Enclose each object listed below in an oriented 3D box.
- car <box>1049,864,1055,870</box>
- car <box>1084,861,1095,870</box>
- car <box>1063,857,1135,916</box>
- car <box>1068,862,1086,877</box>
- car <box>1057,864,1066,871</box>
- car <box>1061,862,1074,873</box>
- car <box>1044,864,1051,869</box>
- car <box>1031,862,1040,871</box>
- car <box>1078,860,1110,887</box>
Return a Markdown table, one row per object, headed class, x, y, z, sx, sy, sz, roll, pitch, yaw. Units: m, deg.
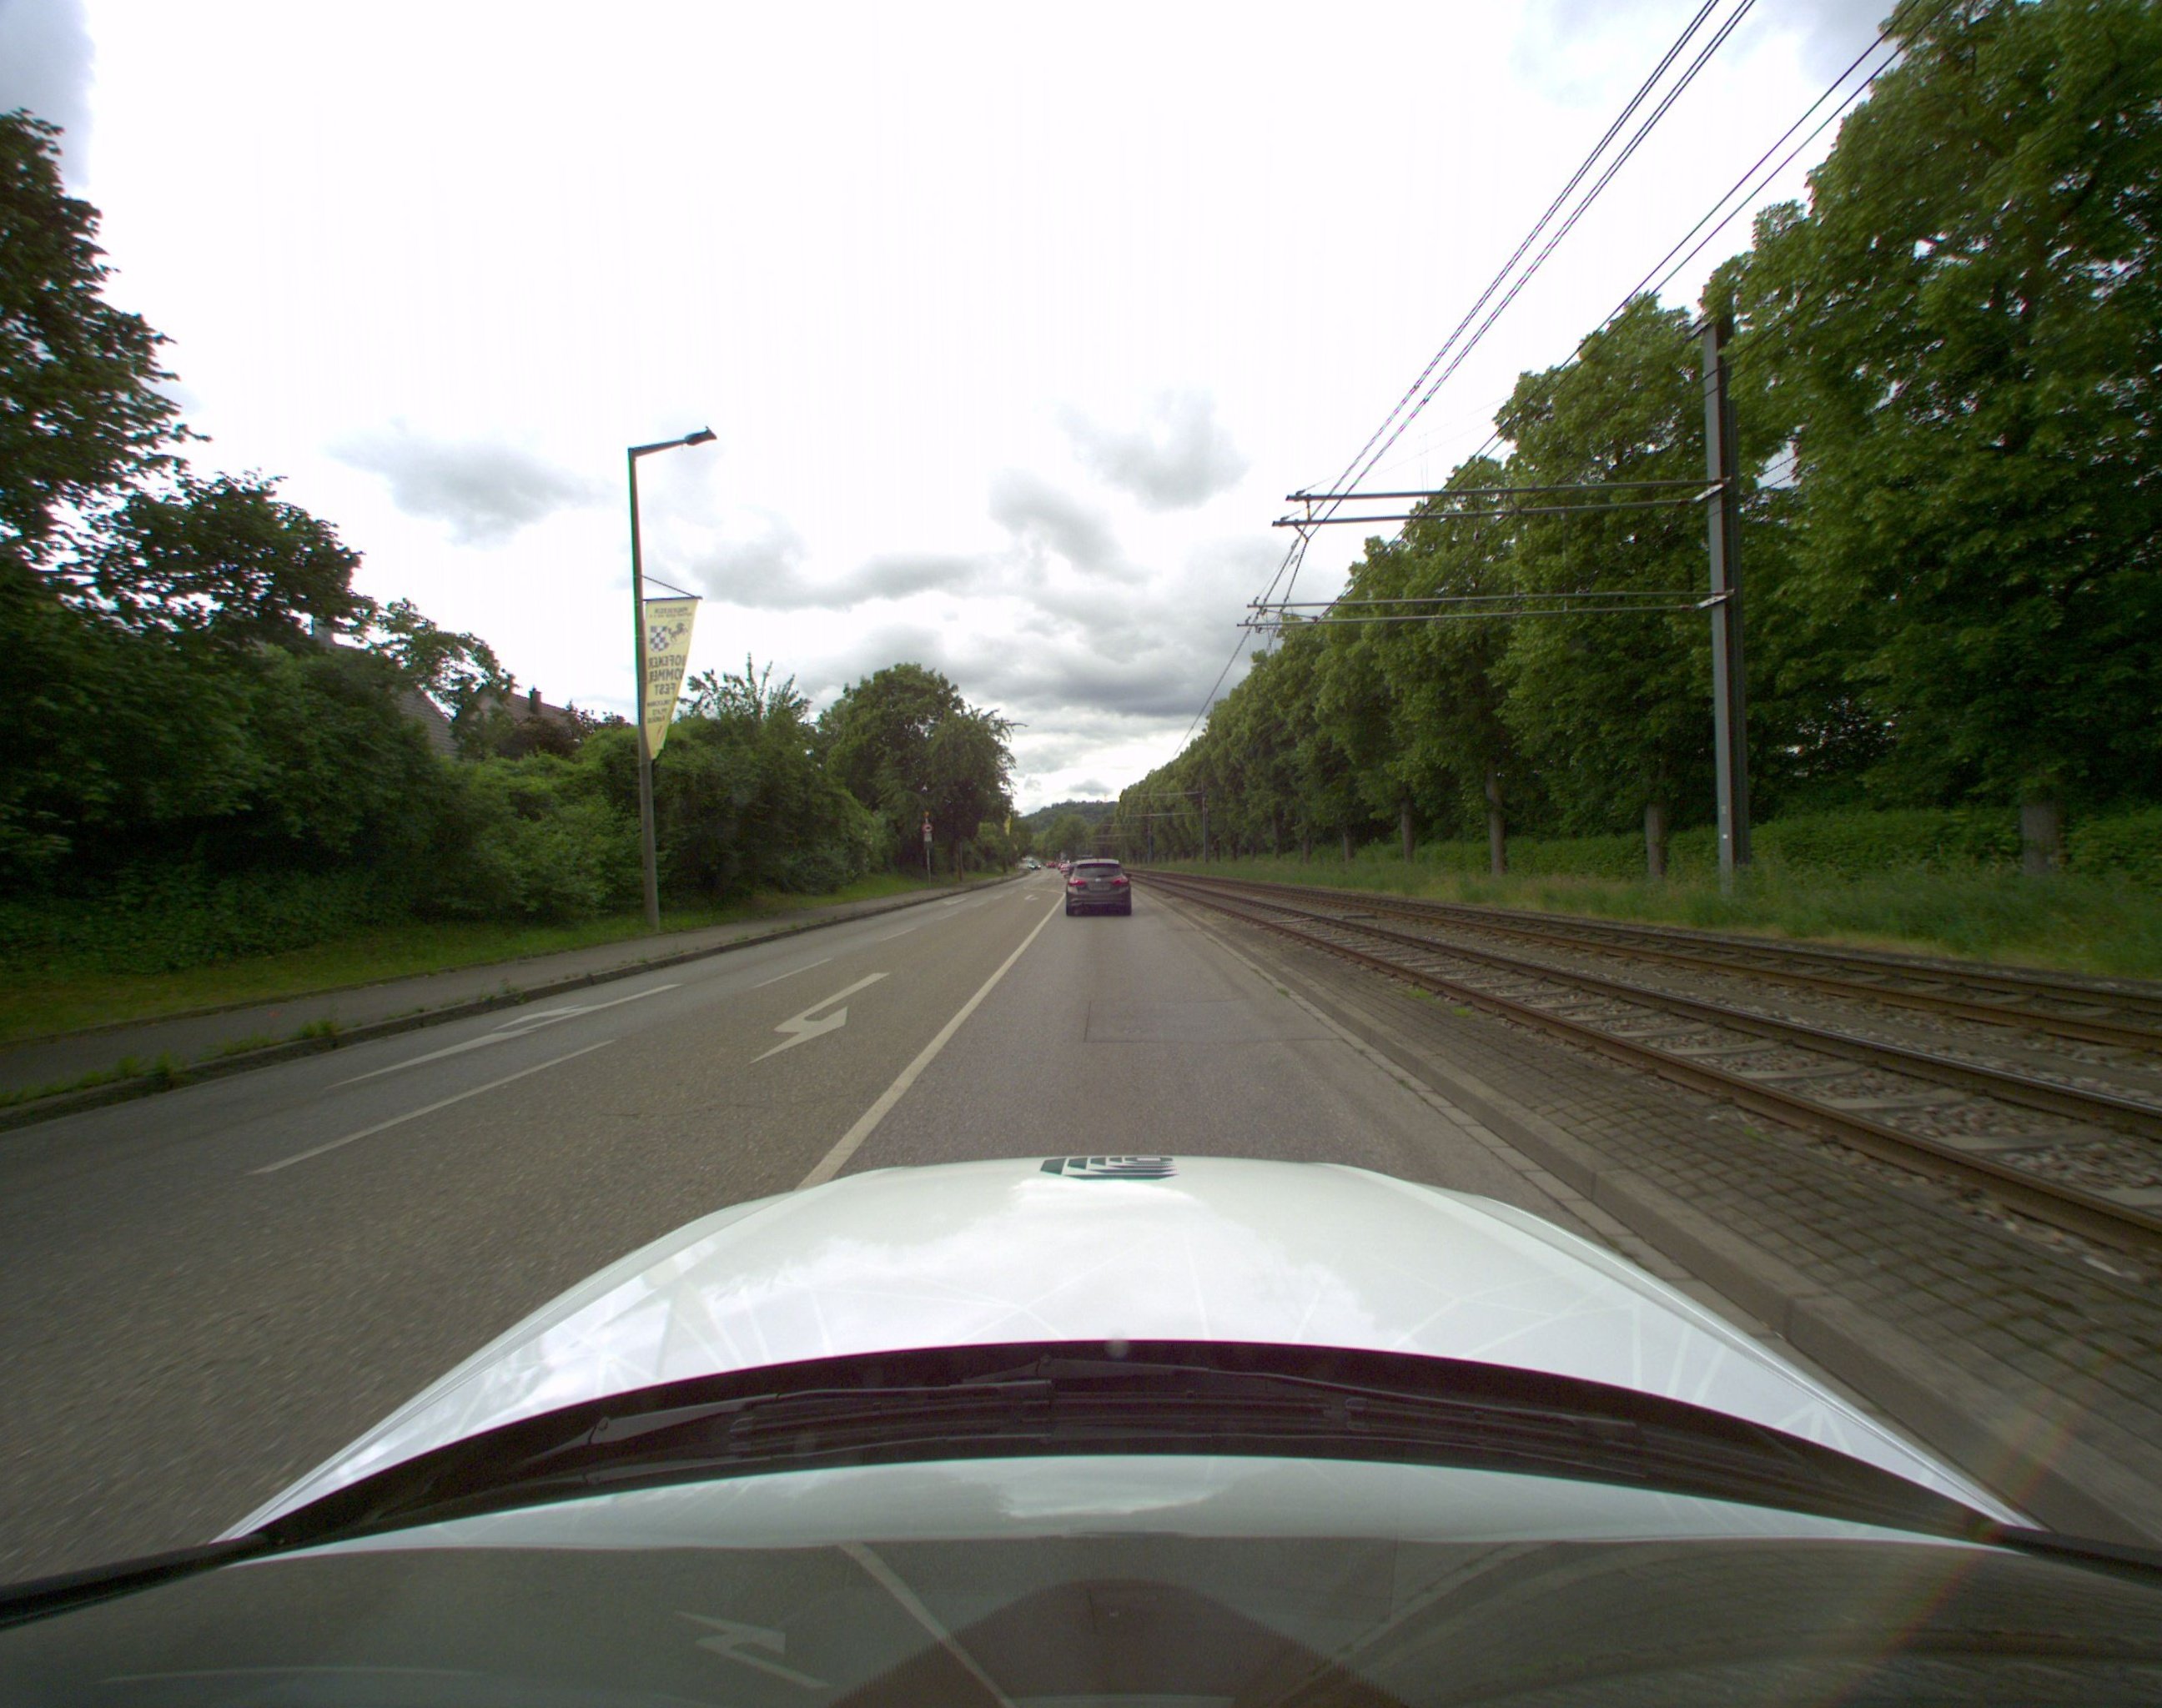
| class | x | y | z | sx | sy | sz | roll | pitch | yaw |
| --- | --- | --- | --- | --- | --- | --- | --- | --- | --- |
| car | -8.354 | 3.634 | 235.355 | 1.694 | 1.714 | 3.999 | -1 | -1 | 0 |
| car | 1.452 | 1.919 | 136.585 | 1.694 | 1.443 | 3.999 | -1 | -1 | 0 |
| car | 0.521 | 0.855 | 23.151 | 1.844 | 1.493 | 4.001 | -1 | 0 | 1 |
| car | -0.375 | 1.517 | 79.860 | 1.694 | 1.443 | 3.999 | -1 | -1 | 0 |
| car | -4.254 | 2.873 | 175.037 | 1.788 | 1.510 | 3.999 | -1 | -1 | 0 |
| car | -1.818 | 1.833 | 112.646 | 1.694 | 1.443 | 3.999 | -1 | -1 | 0 |
| car | -10.127 | 3.791 | 246.907 | 1.694 | 1.714 | 3.999 | -1 | -1 | 0 |
| car | -10.744 | 2.954 | 192.714 | 1.988 | 2.036 | 5.111 | -2 | -1 | -2 |
| car | 0.700 | 1.118 | 46.449 | 1.695 | 1.443 | 3.998 | -1 | -1 | -1 |
